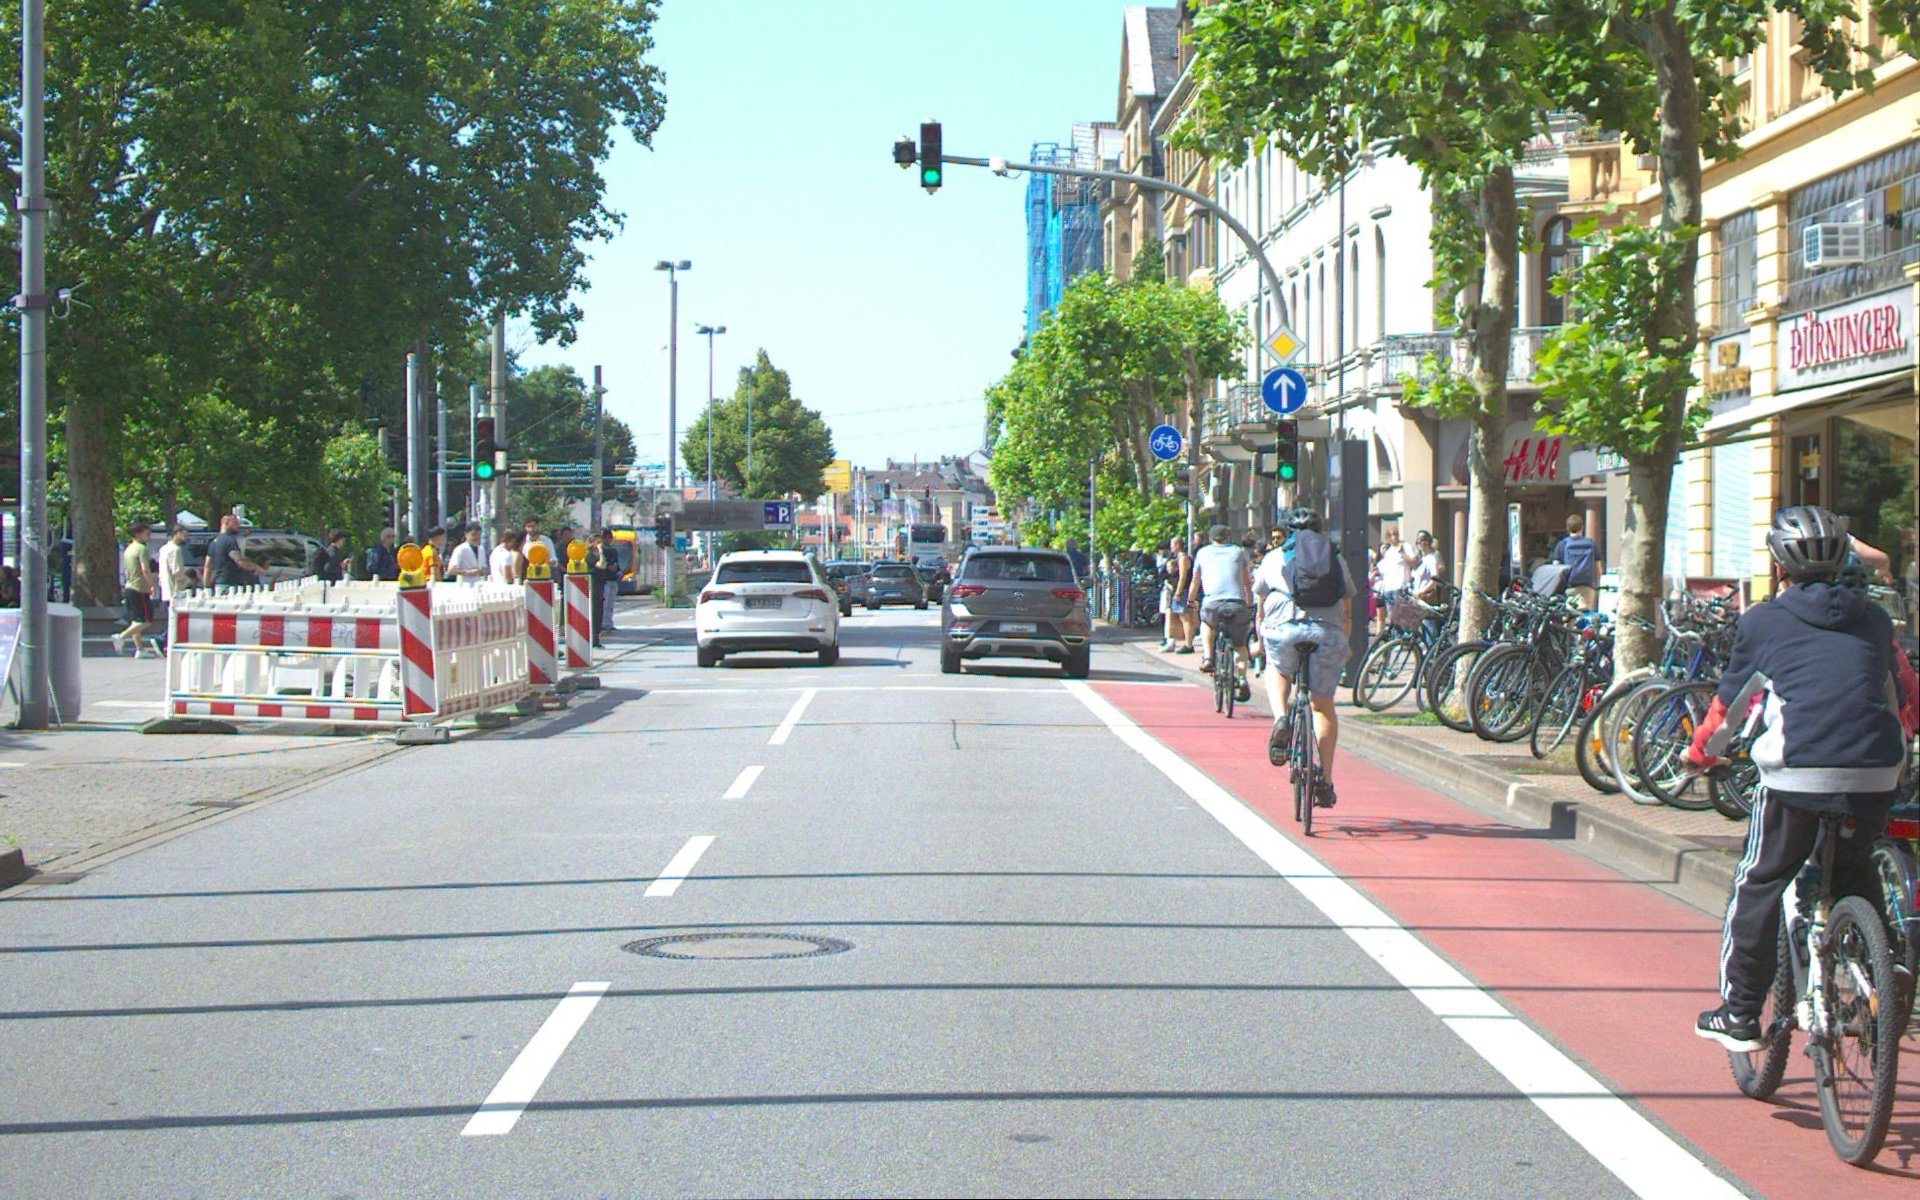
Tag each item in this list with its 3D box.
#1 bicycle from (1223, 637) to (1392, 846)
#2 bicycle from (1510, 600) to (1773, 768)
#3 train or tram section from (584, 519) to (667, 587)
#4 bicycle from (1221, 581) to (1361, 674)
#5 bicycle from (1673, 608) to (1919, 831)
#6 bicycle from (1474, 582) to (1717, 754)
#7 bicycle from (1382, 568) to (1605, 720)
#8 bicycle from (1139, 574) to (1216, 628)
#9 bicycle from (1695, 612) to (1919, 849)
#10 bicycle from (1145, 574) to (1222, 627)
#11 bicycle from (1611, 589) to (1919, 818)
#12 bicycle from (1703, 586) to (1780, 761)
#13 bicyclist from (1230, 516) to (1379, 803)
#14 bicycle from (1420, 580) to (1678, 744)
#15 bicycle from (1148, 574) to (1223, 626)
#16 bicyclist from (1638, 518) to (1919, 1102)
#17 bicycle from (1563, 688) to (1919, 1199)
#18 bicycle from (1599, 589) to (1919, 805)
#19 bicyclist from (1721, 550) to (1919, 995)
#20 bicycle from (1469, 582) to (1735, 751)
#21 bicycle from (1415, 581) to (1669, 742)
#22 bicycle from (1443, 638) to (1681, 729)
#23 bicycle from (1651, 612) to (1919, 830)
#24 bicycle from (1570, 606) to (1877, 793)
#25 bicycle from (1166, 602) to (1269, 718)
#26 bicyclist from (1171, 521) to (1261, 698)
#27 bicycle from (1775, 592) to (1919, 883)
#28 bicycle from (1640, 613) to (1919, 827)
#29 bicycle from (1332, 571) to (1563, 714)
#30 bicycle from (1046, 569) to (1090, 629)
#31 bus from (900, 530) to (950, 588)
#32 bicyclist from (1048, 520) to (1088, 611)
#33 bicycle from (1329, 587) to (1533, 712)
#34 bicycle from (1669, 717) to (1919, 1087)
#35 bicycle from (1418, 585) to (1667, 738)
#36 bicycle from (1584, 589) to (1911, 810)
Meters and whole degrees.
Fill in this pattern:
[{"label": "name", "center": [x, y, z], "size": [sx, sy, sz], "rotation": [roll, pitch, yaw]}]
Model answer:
[{"label": "bicycle", "center": [1.829, 0.723, 18.345], "size": [0.630, 0.976, 2.089], "rotation": [1, 1, -1]}, {"label": "bicycle", "center": [4.573, 0.559, 23.147], "size": [1.649, 1.091, 0.607], "rotation": [1, 1, 2]}, {"label": "train or tram section", "center": [-16.989, -2.386, 175.051], "size": [2.613, 3.337, 11.001], "rotation": [1, 1, 3]}, {"label": "bicycle", "center": [4.000, 0.327, 41.685], "size": [0.600, 1.078, 1.839], "rotation": [-3, 1, -35]}, {"label": "bicycle", "center": [4.547, 0.603, 17.527], "size": [1.728, 1.105, 0.402], "rotation": [1, 1, 2]}, {"label": "bicycle", "center": [4.549, 0.481, 24.668], "size": [1.649, 1.197, 0.474], "rotation": [1, 1, 2]}, {"label": "bicycle", "center": [4.687, 0.376, 30.209], "size": [1.820, 1.304, 0.689], "rotation": [0, 1, -20]}, {"label": "bicycle", "center": [4.130, 0.019, 65.368], "size": [1.420, 0.976, 0.445], "rotation": [-1, 1, 0]}, {"label": "bicycle", "center": [4.506, 0.625, 16.675], "size": [1.728, 1.105, 0.736], "rotation": [1, 1, 2]}, {"label": "bicycle", "center": [4.277, 0.012, 65.829], "size": [1.420, 0.976, 0.445], "rotation": [-1, 1, 0]}, {"label": "bicycle", "center": [4.459, 0.555, 18.721], "size": [1.728, 1.213, 0.477], "rotation": [1, 1, 2]}, {"label": "bicycle", "center": [5.554, 0.499, 24.478], "size": [0.473, 1.184, 1.654], "rotation": [1, 1, 11]}, {"label": "bicyclist", "center": [1.830, 0.295, 18.379], "size": [0.630, 1.476, 1.198], "rotation": [1, 1, -1]}, {"label": "bicycle", "center": [4.424, 0.462, 25.887], "size": [1.844, 1.197, 0.545], "rotation": [1, 1, 2]}, {"label": "bicycle", "center": [4.403, -0.006, 67.213], "size": [1.420, 0.976, 0.401], "rotation": [-1, 1, 0]}, {"label": "bicyclist", "center": [2.229, 0.519, 8.907], "size": [0.698, 1.436, 0.791], "rotation": [2, 1, -4]}, {"label": "bicycle", "center": [2.207, 0.844, 9.073], "size": [0.698, 1.123, 2.082], "rotation": [2, 1, -4]}, {"label": "bicycle", "center": [4.621, 0.554, 19.938], "size": [1.728, 1.213, 0.477], "rotation": [1, 1, 2]}, {"label": "bicyclist", "center": [2.815, 0.526, 10.905], "size": [0.600, 1.353, 0.721], "rotation": [0, 2, -3]}, {"label": "bicycle", "center": [4.672, 0.478, 25.082], "size": [1.844, 1.197, 0.474], "rotation": [1, 1, 2]}, {"label": "bicycle", "center": [4.454, 0.462, 26.393], "size": [1.844, 1.197, 0.608], "rotation": [1, 1, 2]}, {"label": "bicycle", "center": [4.958, 0.681, 28.312], "size": [1.843, 0.713, 0.659], "rotation": [0, 1, -21]}, {"label": "bicycle", "center": [4.517, 0.626, 17.942], "size": [1.728, 1.105, 0.402], "rotation": [1, 1, 2]}, {"label": "bicycle", "center": [4.635, 0.598, 20.935], "size": [1.728, 1.091, 0.607], "rotation": [1, 1, 2]}, {"label": "bicycle", "center": [2.402, 0.546, 32.254], "size": [0.774, 1.002, 2.329], "rotation": [0, 1, 0]}, {"label": "bicyclist", "center": [2.398, 0.080, 32.229], "size": [0.774, 1.629, 0.851], "rotation": [0, 1, 0]}, {"label": "bicycle", "center": [4.660, 0.602, 15.194], "size": [1.931, 1.244, 0.736], "rotation": [1, 1, 2]}, {"label": "bicycle", "center": [4.546, 0.636, 18.361], "size": [1.728, 1.105, 0.477], "rotation": [1, 1, 2]}, {"label": "bicycle", "center": [4.371, 0.372, 30.806], "size": [1.932, 1.253, 0.705], "rotation": [0, 1, -20]}, {"label": "bicycle", "center": [1.838, -0.022, 58.644], "size": [0.647, 0.994, 2.031], "rotation": [0, 1, -1]}, {"label": "bus", "center": [-2.280, -2.581, 219.528], "size": [2.994, 3.582, 11.745], "rotation": [0, 0, -1]}, {"label": "bicyclist", "center": [1.843, -0.594, 58.696], "size": [0.647, 1.545, 0.817], "rotation": [0, 1, -1]}, {"label": "bicycle", "center": [4.336, 0.450, 31.687], "size": [1.781, 1.118, 0.563], "rotation": [0, 1, -3]}, {"label": "bicycle", "center": [2.819, 0.903, 10.923], "size": [0.600, 0.922, 2.088], "rotation": [0, 2, -3]}, {"label": "bicycle", "center": [4.564, 0.478, 27.025], "size": [1.844, 1.160, 0.659], "rotation": [1, 1, 2]}, {"label": "bicycle", "center": [4.442, 0.555, 19.446], "size": [1.728, 1.213, 0.477], "rotation": [1, 1, 2]}]
